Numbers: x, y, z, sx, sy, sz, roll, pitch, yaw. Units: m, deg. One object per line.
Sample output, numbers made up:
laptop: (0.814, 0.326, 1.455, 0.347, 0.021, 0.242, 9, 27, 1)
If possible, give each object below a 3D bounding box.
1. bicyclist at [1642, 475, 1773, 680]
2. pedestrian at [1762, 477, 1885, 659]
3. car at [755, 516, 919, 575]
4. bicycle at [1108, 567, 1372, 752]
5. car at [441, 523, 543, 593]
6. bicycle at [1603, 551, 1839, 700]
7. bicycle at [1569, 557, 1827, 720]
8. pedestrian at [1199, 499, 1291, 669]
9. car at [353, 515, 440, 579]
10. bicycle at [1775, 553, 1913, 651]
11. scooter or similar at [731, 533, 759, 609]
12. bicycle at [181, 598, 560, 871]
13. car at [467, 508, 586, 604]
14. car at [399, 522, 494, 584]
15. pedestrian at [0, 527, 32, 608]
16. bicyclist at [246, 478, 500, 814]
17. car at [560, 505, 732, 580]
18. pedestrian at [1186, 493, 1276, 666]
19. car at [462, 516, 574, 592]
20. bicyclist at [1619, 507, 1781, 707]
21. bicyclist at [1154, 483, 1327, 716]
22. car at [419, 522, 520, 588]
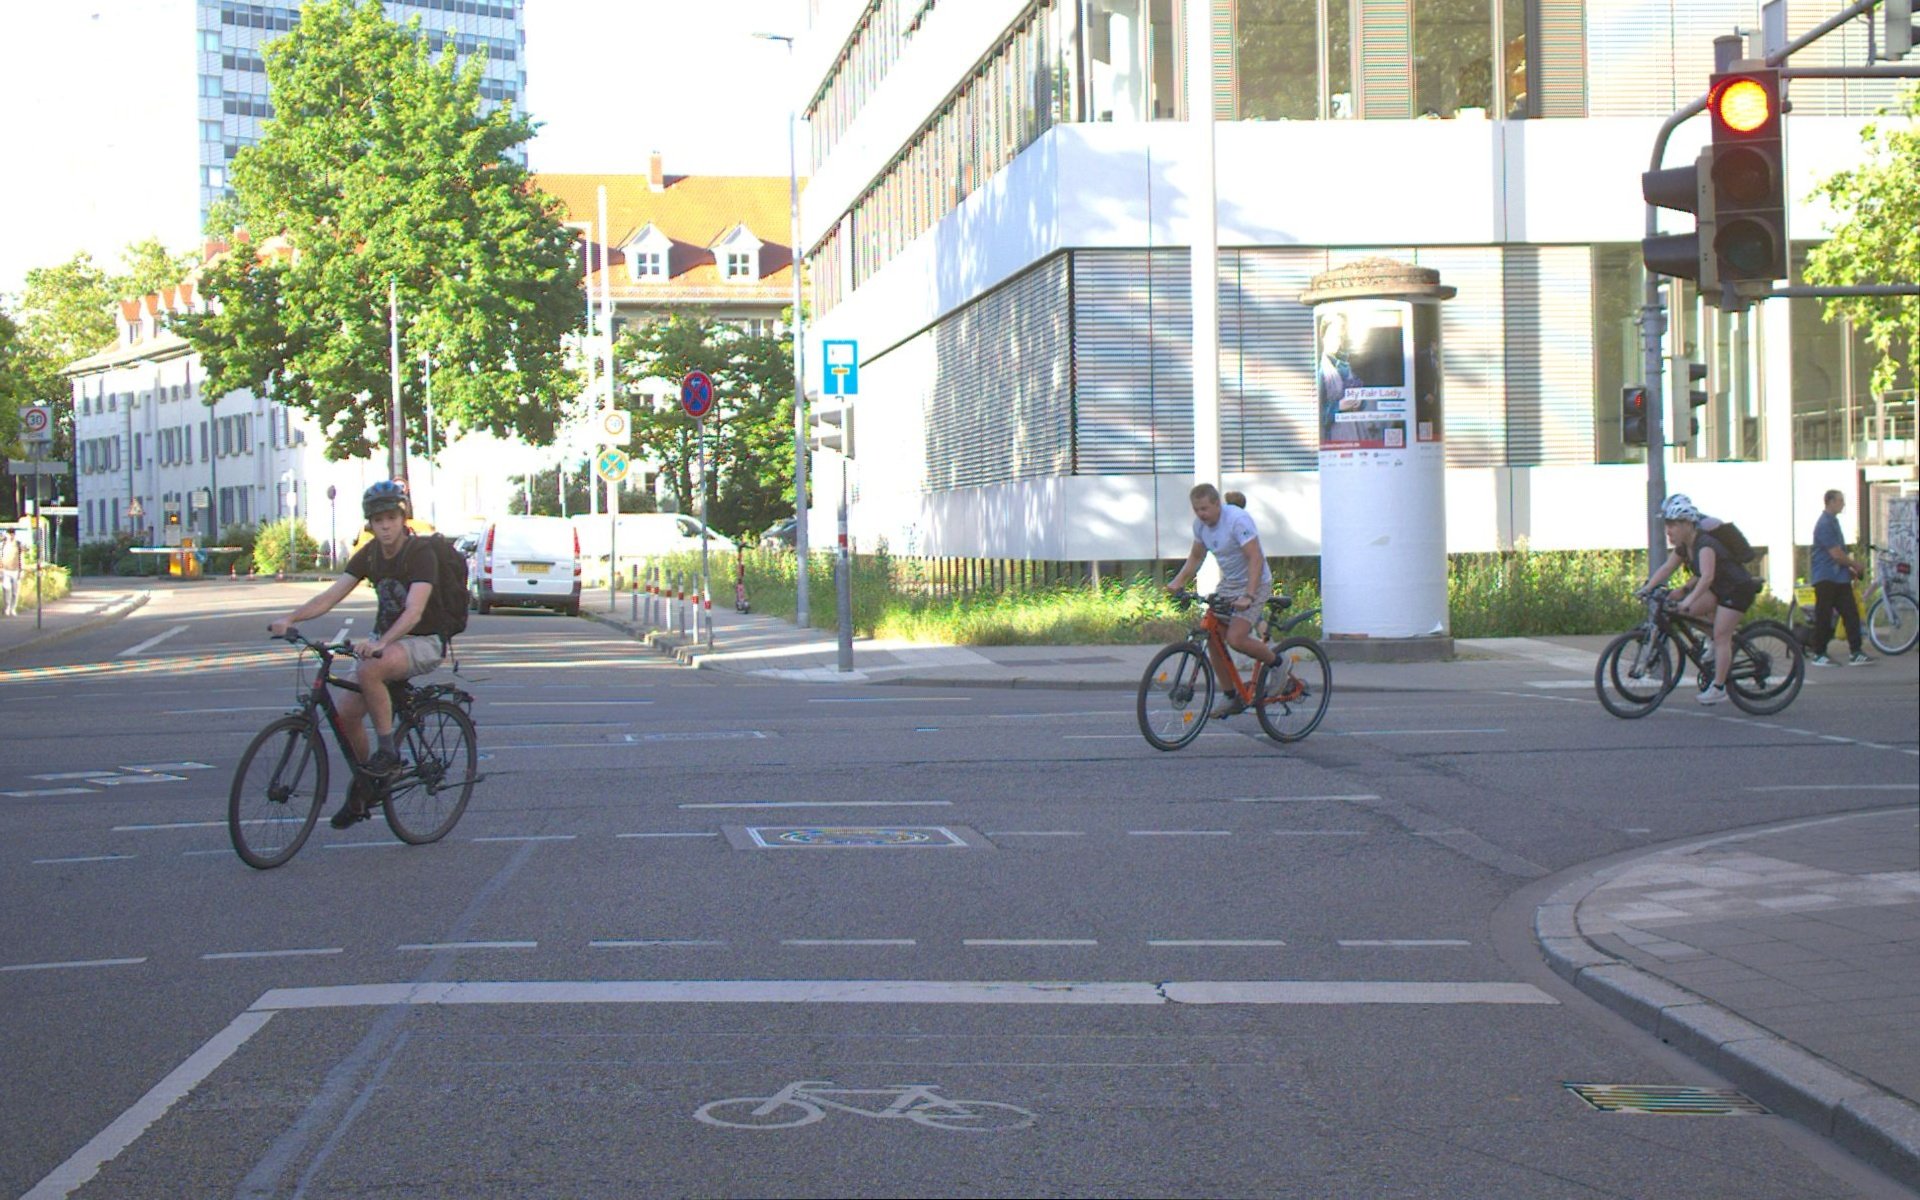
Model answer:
bicyclist: (6.054, -0.189, 27.857, 0.823, 1.623, 0.628, -1, 1, -17)
pedestrian: (8.750, -0.322, 34.830, 0.760, 1.809, 0.916, 0, 1, -43)
car: (-3.749, -1.646, 104.784, 4.635, 1.719, 2.001, 1, 0, -16)
bicycle: (1.889, 0.374, 22.968, 0.627, 1.148, 1.965, 0, 2, 45)
car: (-10.499, -0.945, 76.817, 1.993, 1.493, 4.653, 1, 1, -11)
bicycle: (6.170, 0.192, 27.892, 1.778, 1.148, 0.628, -1, 1, -17)
bicycle: (5.477, 0.274, 25.525, 1.778, 1.148, 0.628, -1, 1, -17)
pedestrian: (2.929, -0.166, 35.276, 0.766, 1.713, 0.647, 1, 0, 21)
car: (-15.732, -1.464, 95.844, 1.993, 1.719, 4.653, 1, 1, -14)
bicycle: (9.290, 0.012, 36.157, 0.378, 1.005, 1.432, -2, 2, -42)
scooter or similar: (-3.653, -0.500, 58.300, 0.437, 1.252, 1.420, -1, 1, -4)
bicycle: (-2.731, 0.594, 16.143, 0.591, 1.148, 1.966, 0, 1, 31)
car: (-8.214, -0.825, 64.832, 1.993, 1.719, 4.653, 1, 1, -10)
car: (-12.874, -1.176, 85.988, 1.993, 1.493, 4.653, 1, 1, -13)
pedestrian: (-18.576, -0.640, 67.410, 0.699, 1.581, 0.637, 1, 0, -16)
bicyclist: (-2.745, 0.193, 16.143, 0.591, 1.522, 1.077, 0, 1, 31)
car: (-9.396, -1.717, 102.940, 4.791, 2.151, 2.001, 1, 0, -17)
pedestrian: (2.849, -0.216, 36.155, 0.766, 1.789, 0.647, 1, 0, 21)
car: (-9.165, -0.944, 71.045, 1.993, 1.493, 4.653, 1, 1, -11)
bicyclist: (5.489, 0.042, 25.513, 0.971, 1.441, 0.628, -1, 1, -17)
bicyclist: (1.878, -0.014, 22.970, 0.704, 1.517, 0.916, 0, 2, 45)
car: (-11.620, -1.071, 81.264, 1.993, 1.493, 4.288, 1, 1, -13)
